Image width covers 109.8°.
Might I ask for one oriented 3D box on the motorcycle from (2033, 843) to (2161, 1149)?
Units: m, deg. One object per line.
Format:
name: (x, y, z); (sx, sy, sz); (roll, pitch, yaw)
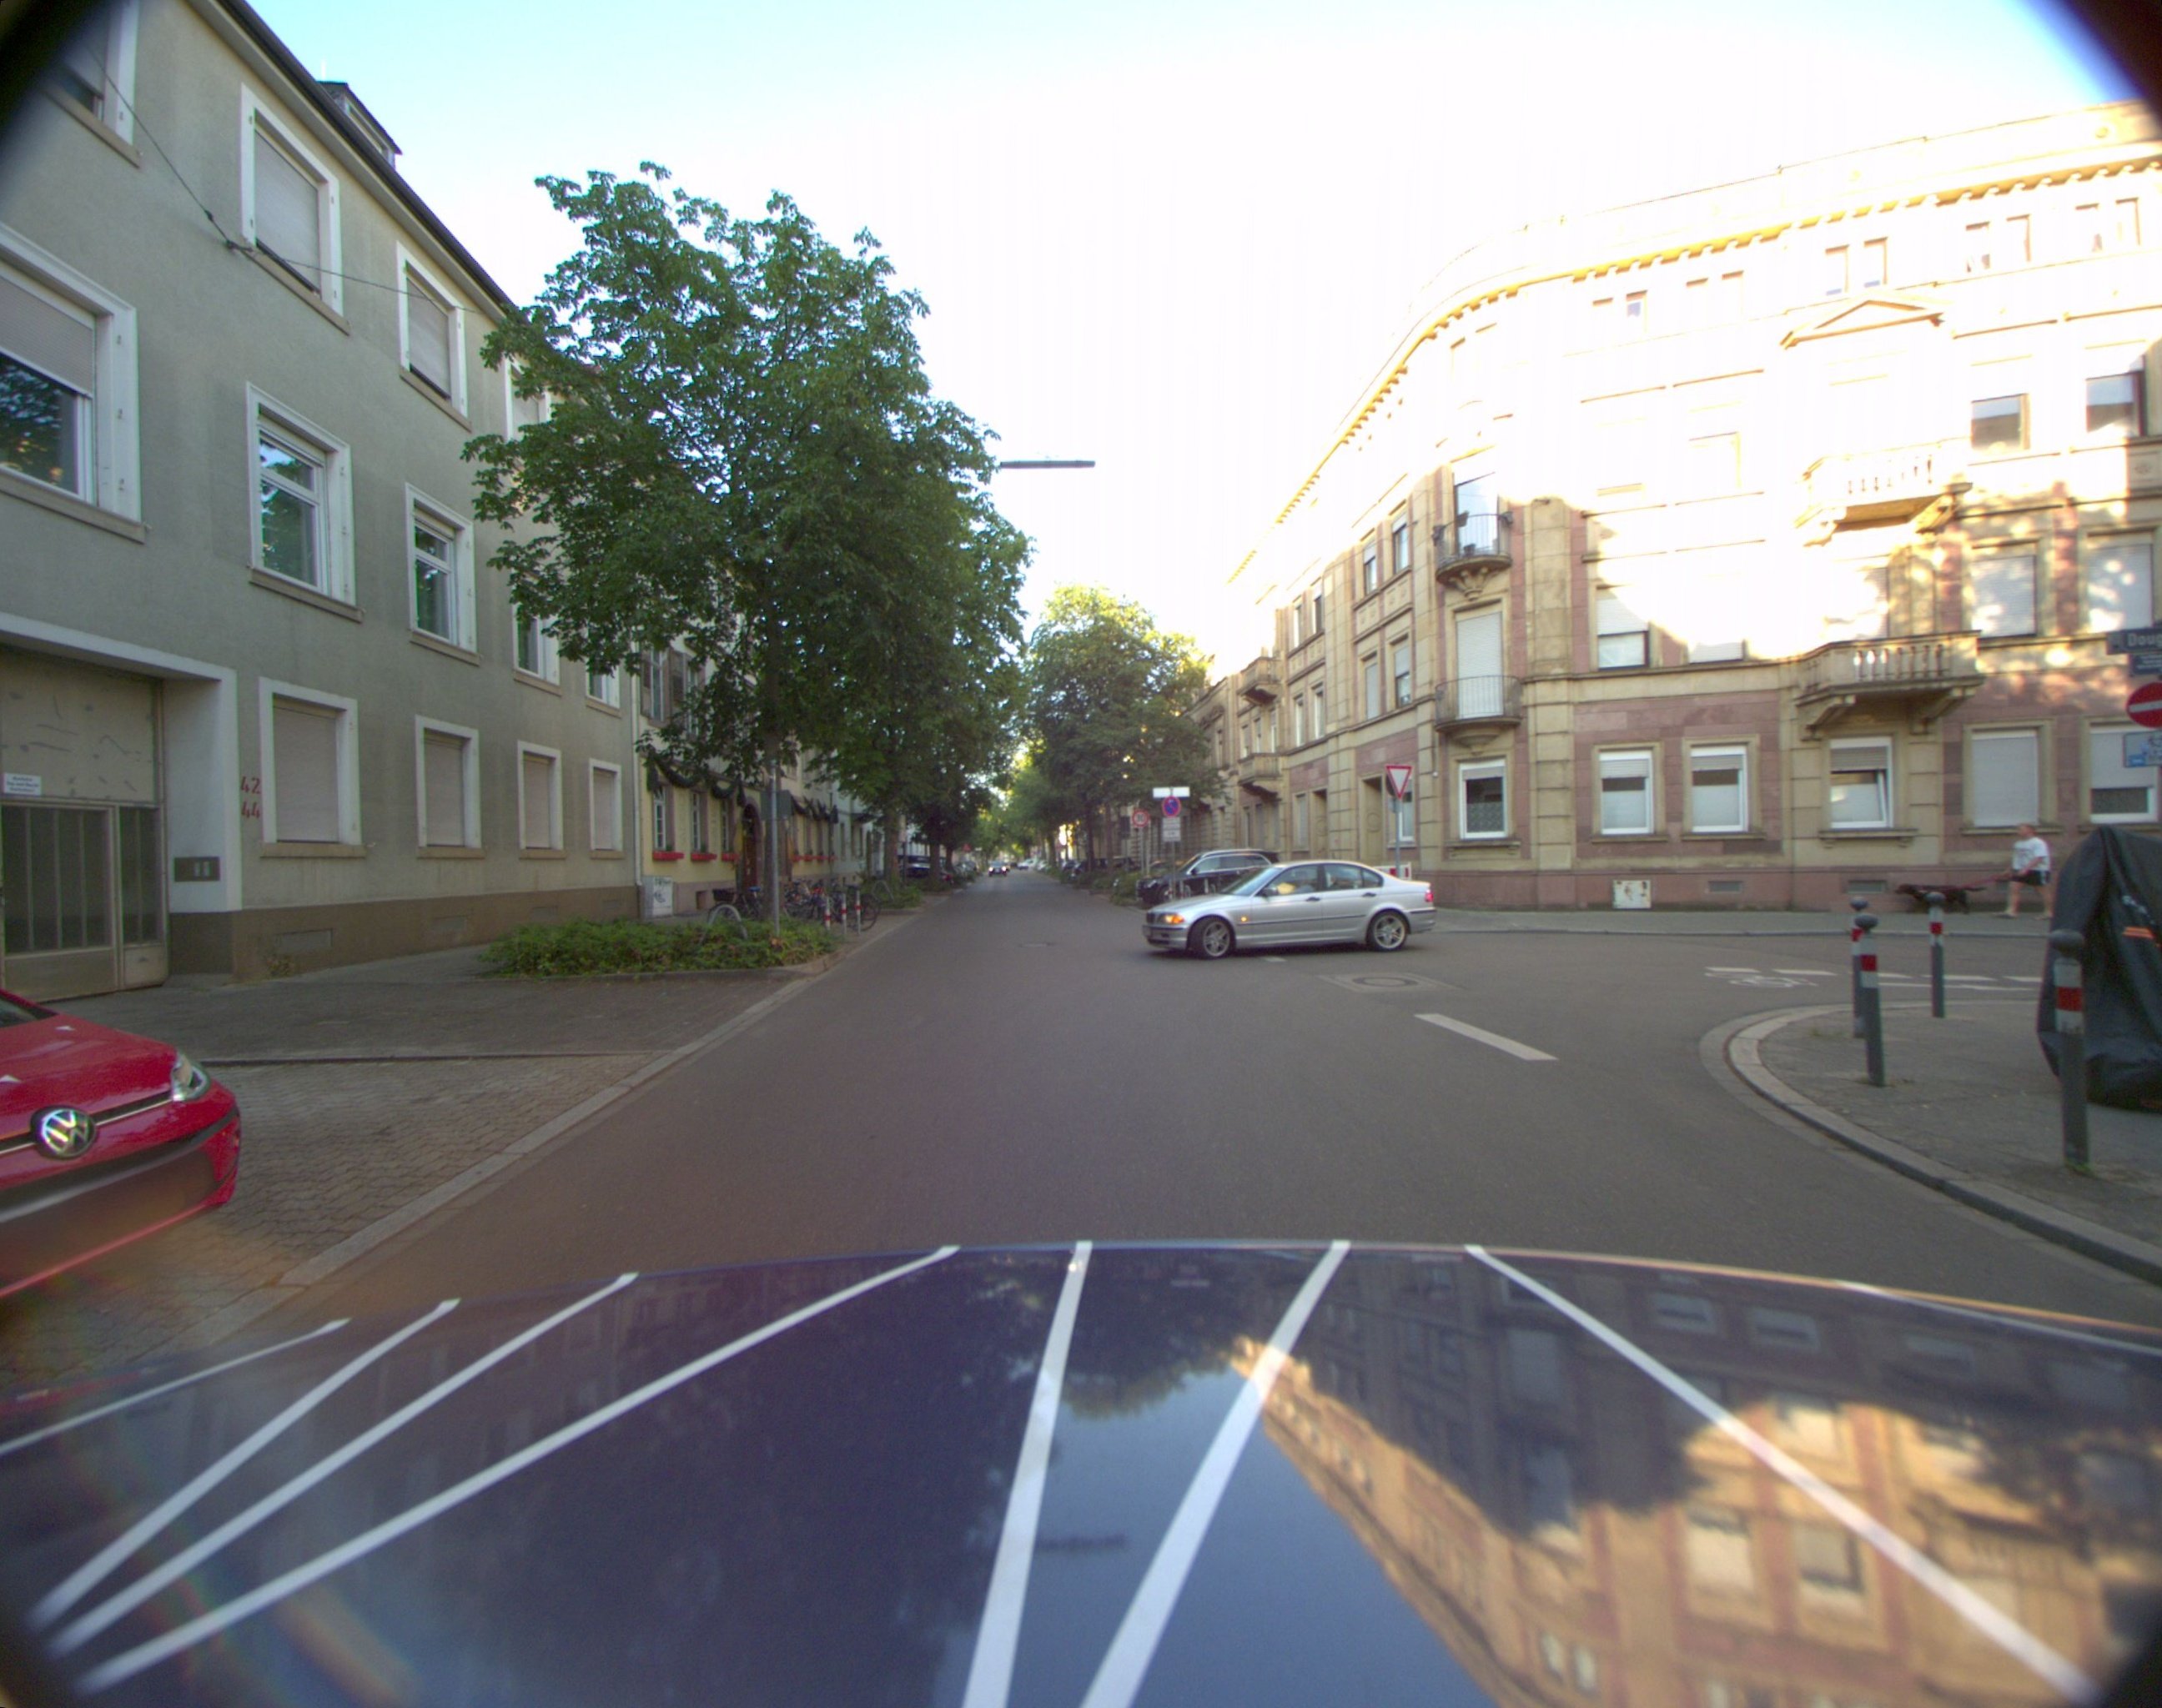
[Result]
motorcycle: (6.446, 0.716, 4.413); (2.165, 1.546, 0.668); (-1, 0, -26)

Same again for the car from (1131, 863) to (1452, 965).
car: (3.132, 0.860, 11.719); (4.471, 1.395, 1.682); (0, -1, -8)

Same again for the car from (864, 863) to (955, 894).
car: (-9.018, 1.300, 40.263); (4.444, 1.496, 1.776); (-1, 0, -4)

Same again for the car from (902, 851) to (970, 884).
car: (-10.032, 0.925, 52.758); (4.444, 2.110, 1.776); (-1, 0, -4)

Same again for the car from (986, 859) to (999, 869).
car: (-13.159, 1.507, 113.090); (1.828, 1.364, 3.998); (-1, 0, -5)

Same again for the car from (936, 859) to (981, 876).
car: (-12.680, 1.384, 78.669); (4.444, 1.603, 1.776); (-1, 0, -4)

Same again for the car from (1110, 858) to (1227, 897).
car: (3.523, 0.937, 31.014); (4.444, 1.478, 1.776); (-1, 0, -4)

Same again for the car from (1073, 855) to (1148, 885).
car: (1.776, 0.981, 47.220); (4.444, 1.728, 1.776); (-1, 0, -4)

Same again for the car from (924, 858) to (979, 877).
car: (-11.205, 1.168, 65.966); (4.444, 1.603, 1.776); (-1, 0, -4)

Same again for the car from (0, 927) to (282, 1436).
car: (-5.137, 1.054, 2.226); (3.667, 1.467, 1.565); (0, 0, -7)

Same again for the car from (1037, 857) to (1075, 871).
car: (-3.046, 1.210, 92.530); (4.444, 1.638, 1.776); (-1, 0, -4)

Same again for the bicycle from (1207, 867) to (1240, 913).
bicycle: (3.798, 0.937, 20.352); (0.364, 1.083, 1.869); (-3, 1, -5)

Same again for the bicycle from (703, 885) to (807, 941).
bicycle: (-7.104, 1.275, 16.586); (2.041, 1.139, 0.446); (-1, 0, -2)

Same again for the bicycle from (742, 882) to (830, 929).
bicycle: (-7.540, 1.309, 19.451); (2.042, 1.139, 0.421); (-1, 0, -6)

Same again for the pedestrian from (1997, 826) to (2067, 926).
pedestrian: (16.914, 0.380, 13.526); (0.567, 1.733, 0.551); (0, 1, 16)

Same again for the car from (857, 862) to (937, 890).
car: (-11.034, 1.311, 45.798); (4.444, 1.603, 1.776); (-1, 0, -4)

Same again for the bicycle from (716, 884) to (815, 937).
bicycle: (-7.241, 1.297, 17.473); (2.042, 1.139, 0.421); (-1, 0, -6)

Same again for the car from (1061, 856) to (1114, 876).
car: (0.499, 0.943, 59.881); (4.032, 1.474, 1.776); (-1, 0, -4)

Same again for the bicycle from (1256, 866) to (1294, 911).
bicycle: (5.215, 0.910, 20.534); (0.364, 1.083, 1.869); (-3, 1, -5)

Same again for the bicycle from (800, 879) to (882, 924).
bicycle: (-6.492, 1.277, 20.615); (2.042, 1.139, 0.421); (-1, 0, -6)

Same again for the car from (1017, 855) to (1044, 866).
car: (-8.433, 1.082, 126.825); (4.007, 1.753, 1.995); (-1, 0, -36)

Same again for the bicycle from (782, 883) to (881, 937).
bicycle: (-5.607, 1.253, 17.124); (2.041, 1.139, 0.446); (-1, 0, -5)

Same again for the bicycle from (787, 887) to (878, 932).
bicycle: (-6.003, 1.333, 18.403); (2.042, 0.998, 0.421); (-1, 0, -6)

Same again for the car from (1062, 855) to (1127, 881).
car: (0.935, 0.997, 54.193); (4.444, 1.728, 1.776); (-1, 0, -4)

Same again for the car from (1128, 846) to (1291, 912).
car: (3.886, 0.718, 23.384); (4.590, 1.728, 1.775); (-3, 1, -4)

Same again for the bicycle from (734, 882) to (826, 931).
bicycle: (-7.406, 1.286, 18.726); (2.042, 1.139, 0.421); (-1, 0, -6)

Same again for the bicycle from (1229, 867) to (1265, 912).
bicycle: (4.466, 0.931, 20.501); (0.364, 1.083, 1.869); (-3, 1, -5)
